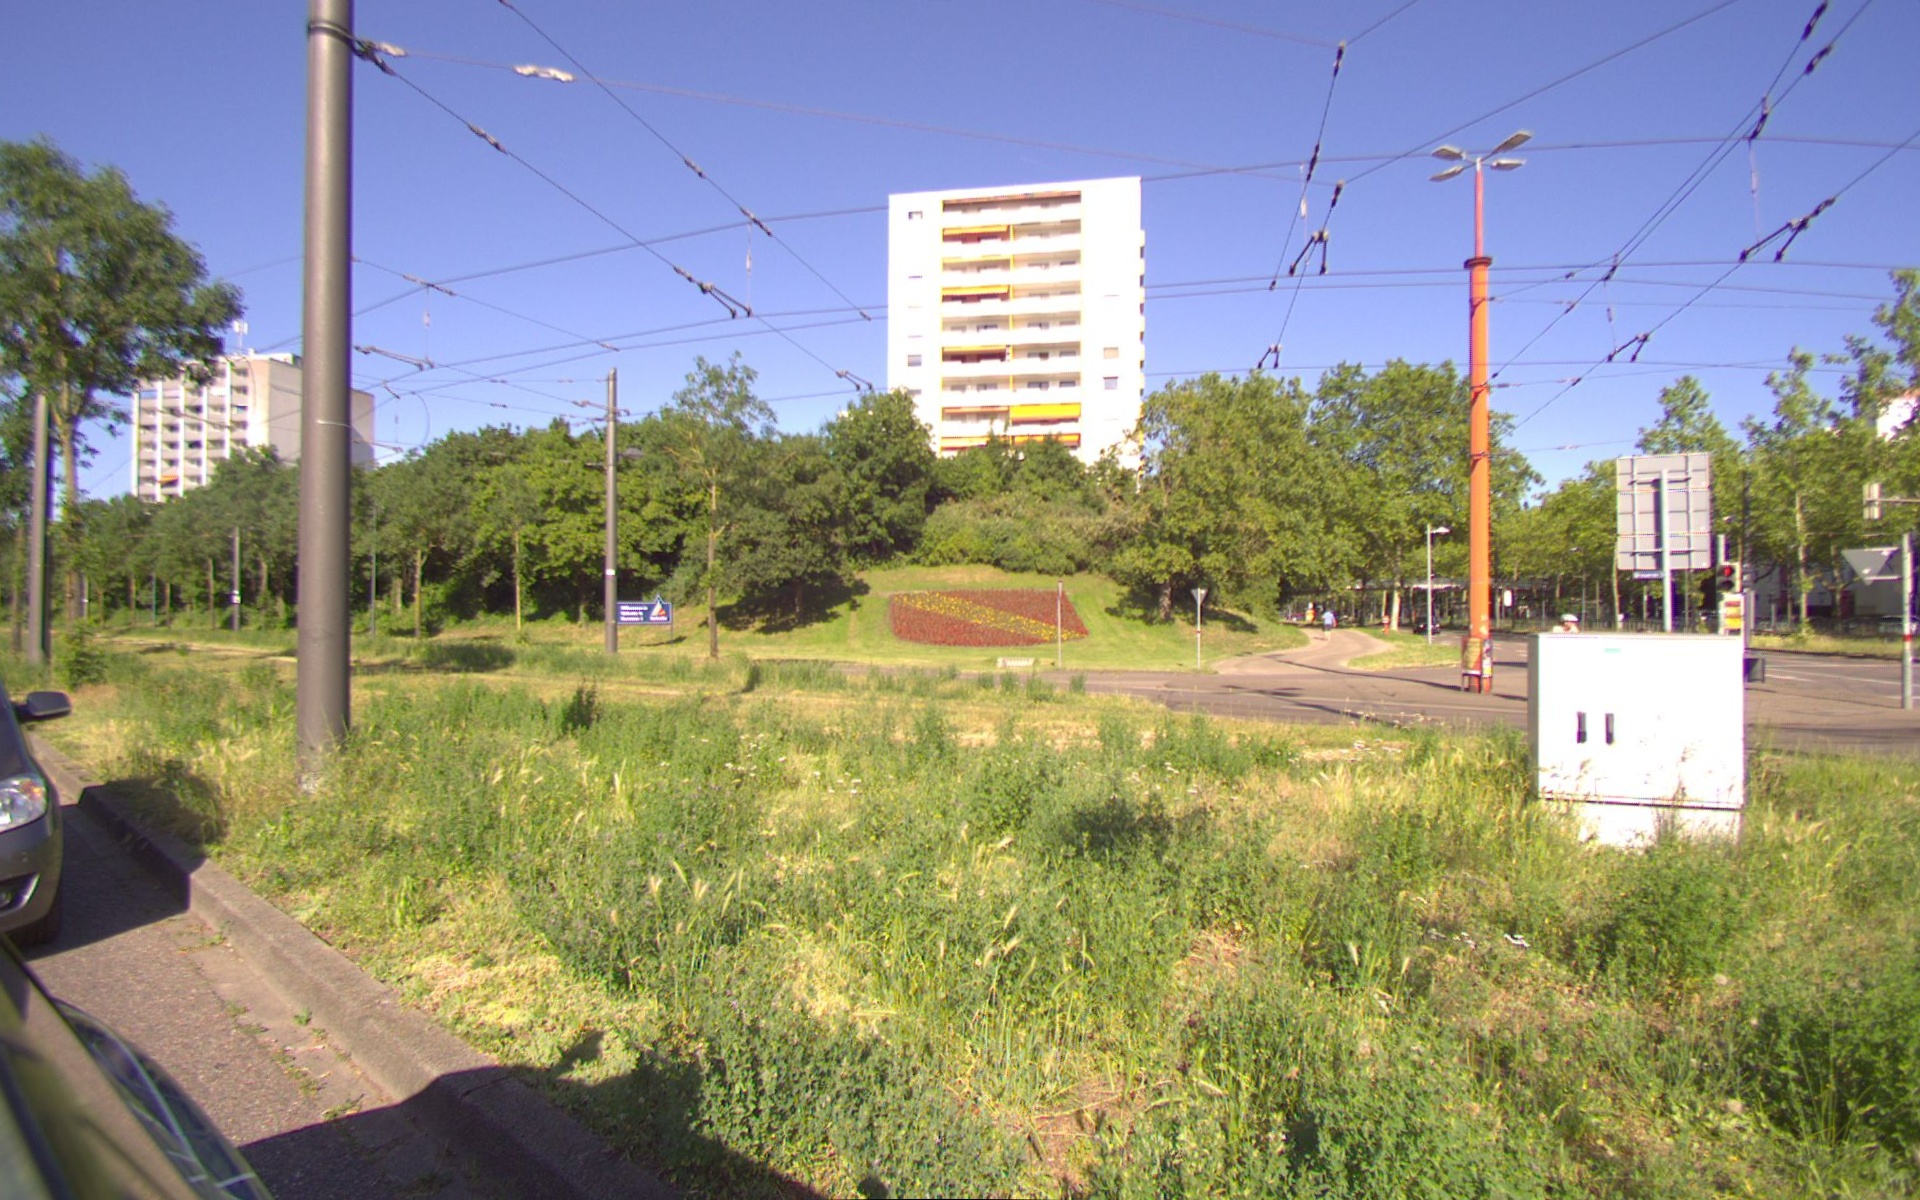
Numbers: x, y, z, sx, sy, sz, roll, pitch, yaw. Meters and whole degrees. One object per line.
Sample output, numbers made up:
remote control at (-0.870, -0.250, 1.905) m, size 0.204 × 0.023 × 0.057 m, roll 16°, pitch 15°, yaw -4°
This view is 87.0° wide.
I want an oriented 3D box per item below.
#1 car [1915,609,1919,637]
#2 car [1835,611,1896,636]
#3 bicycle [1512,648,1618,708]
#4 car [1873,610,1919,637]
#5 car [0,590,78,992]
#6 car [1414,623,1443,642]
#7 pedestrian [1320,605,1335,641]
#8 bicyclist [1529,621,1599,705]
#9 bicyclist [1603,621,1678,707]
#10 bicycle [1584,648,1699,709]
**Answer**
car at (64.406, 1.504, 65.899) m, size 3.931 × 1.829 × 2.006 m, roll 1°, pitch -2°, yaw -27°
car at (66.017, 1.699, 73.757) m, size 3.931 × 1.829 × 2.006 m, roll 1°, pitch -2°, yaw -27°
bicycle at (12.092, 1.532, 20.313) m, size 0.915 × 1.095 × 1.888 m, roll 0°, pitch -1°, yaw -2°
car at (65.249, 1.642, 69.861) m, size 3.931 × 1.829 × 2.006 m, roll 1°, pitch -2°, yaw -27°
car at (-5.940, 0.794, 5.038) m, size 4.382 × 1.619 × 1.754 m, roll -1°, pitch -2°, yaw 41°
car at (40.098, 2.742, 86.675) m, size 1.928 × 1.606 × 3.882 m, roll -1°, pitch -1°, yaw 20°
pedestrian at (20.069, 1.260, 55.292) m, size 0.729 × 1.949 × 0.726 m, roll -1°, pitch -2°, yaw 24°
bicyclist at (12.097, 1.254, 20.297) m, size 0.920 × 1.650 × 0.741 m, roll 0°, pitch -1°, yaw -1°
bicyclist at (13.354, 1.237, 19.878) m, size 0.920 × 1.650 × 0.741 m, roll 0°, pitch -1°, yaw -1°
bicycle at (13.358, 1.517, 19.912) m, size 0.915 × 1.095 × 1.888 m, roll 0°, pitch -1°, yaw -2°
